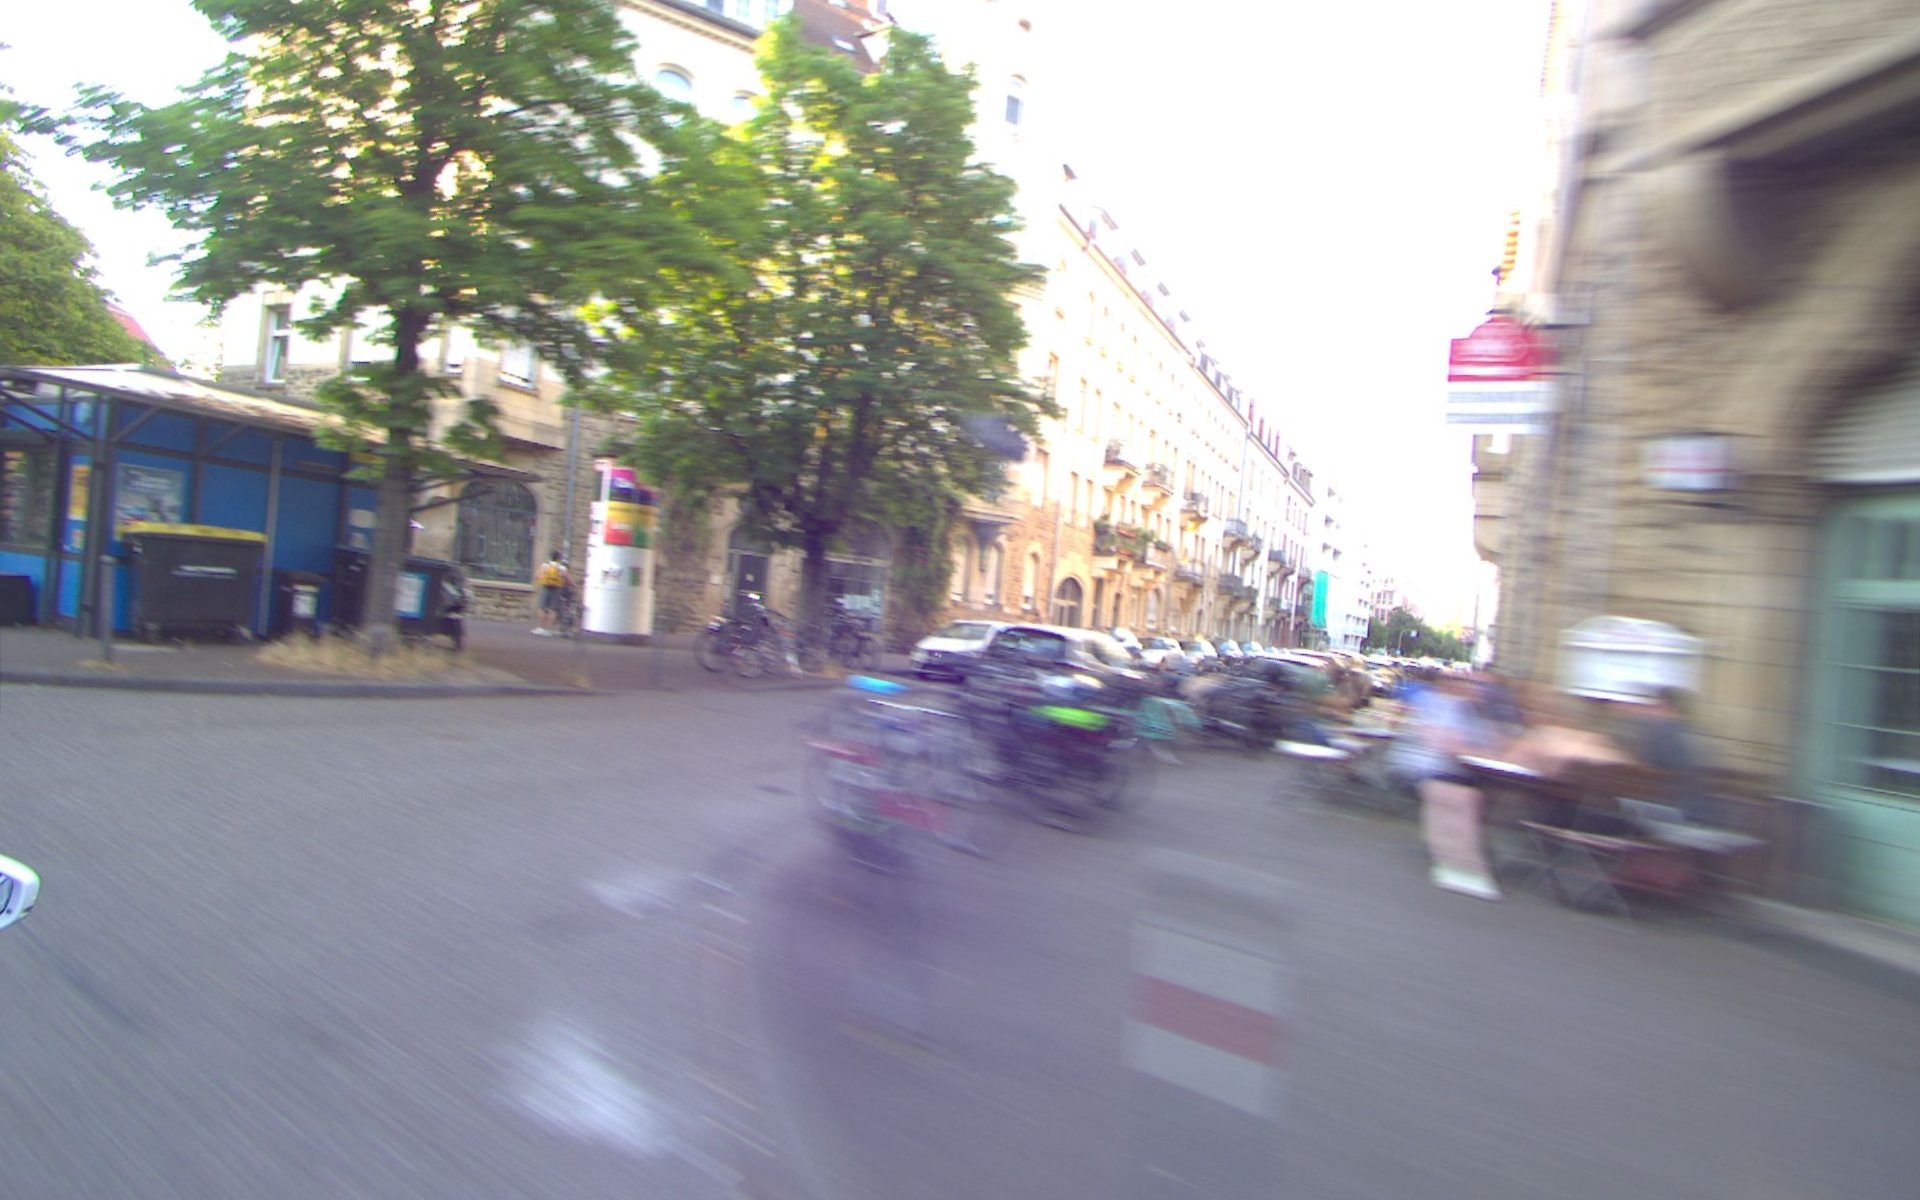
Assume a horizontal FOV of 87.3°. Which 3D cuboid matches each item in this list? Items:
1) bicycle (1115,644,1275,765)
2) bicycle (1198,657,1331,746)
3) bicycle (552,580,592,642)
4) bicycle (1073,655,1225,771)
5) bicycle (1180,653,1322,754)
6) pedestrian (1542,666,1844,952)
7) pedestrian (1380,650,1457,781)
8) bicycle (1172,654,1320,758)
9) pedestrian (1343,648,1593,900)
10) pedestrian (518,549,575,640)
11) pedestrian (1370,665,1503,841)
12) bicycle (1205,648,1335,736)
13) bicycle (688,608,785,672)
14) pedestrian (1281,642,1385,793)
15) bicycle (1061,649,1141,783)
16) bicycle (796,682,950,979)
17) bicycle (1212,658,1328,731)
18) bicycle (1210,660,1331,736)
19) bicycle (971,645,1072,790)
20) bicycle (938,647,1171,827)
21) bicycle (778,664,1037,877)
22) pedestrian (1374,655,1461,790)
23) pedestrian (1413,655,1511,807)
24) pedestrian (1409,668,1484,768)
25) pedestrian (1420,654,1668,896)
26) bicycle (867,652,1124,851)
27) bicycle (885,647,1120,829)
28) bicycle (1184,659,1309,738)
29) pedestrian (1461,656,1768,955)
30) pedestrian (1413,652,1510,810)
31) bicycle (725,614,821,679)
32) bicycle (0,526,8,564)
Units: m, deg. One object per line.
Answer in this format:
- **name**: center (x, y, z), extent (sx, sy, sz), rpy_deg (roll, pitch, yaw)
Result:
- **bicycle**: center (2.960, 1.280, 12.672), extent (1.800, 1.278, 0.585), rpy_deg (6, 1, 19)
- **bicycle**: center (4.657, 1.532, 15.424), extent (1.801, 1.121, 0.545), rpy_deg (5, 1, 24)
- **bicycle**: center (-8.276, 0.219, 21.441), extent (0.627, 1.203, 1.903), rpy_deg (4, 0, -24)
- **bicycle**: center (2.163, 1.287, 11.743), extent (0.585, 1.091, 1.819), rpy_deg (5, 0, -32)
- **bicycle**: center (4.170, 1.457, 14.442), extent (1.801, 1.210, 0.545), rpy_deg (5, 1, 24)
- **pedestrian**: center (4.254, 1.154, 5.910), extent (0.829, 1.414, 1.099), rpy_deg (4, 0, -22)
- **pedestrian**: center (5.549, 1.366, 12.203), extent (0.702, 1.443, 0.902), rpy_deg (6, 0, 24)
- **bicycle**: center (3.940, 1.431, 13.881), extent (1.801, 1.175, 0.545), rpy_deg (5, 1, 24)
- **pedestrian**: center (3.258, 1.071, 6.537), extent (0.829, 1.414, 1.099), rpy_deg (4, 0, -22)
- **pedestrian**: center (-8.694, -0.116, 21.135), extent (0.967, 1.812, 0.999), rpy_deg (4, 1, -25)
- **pedestrian**: center (3.980, 1.246, 8.474), extent (0.862, 1.299, 0.706), rpy_deg (6, 1, 23)
- **bicycle**: center (4.896, 1.431, 15.910), extent (1.801, 1.152, 0.591), rpy_deg (5, 1, 24)
- **bicycle**: center (-3.836, 0.710, 17.404), extent (0.569, 1.008, 1.736), rpy_deg (5, 0, 28)
- **pedestrian**: center (3.860, 1.191, 10.464), extent (0.779, 1.422, 0.715), rpy_deg (5, 1, 11)
- **bicycle**: center (1.475, 1.121, 10.270), extent (0.528, 1.176, 1.835), rpy_deg (5, 0, 14)
- **bicycle**: center (-0.460, 0.992, 4.748), extent (0.425, 1.052, 1.472), rpy_deg (5, 0, -14)
- **bicycle**: center (5.387, 1.624, 17.497), extent (1.801, 1.042, 0.545), rpy_deg (5, 0, 24)
- **bicycle**: center (5.203, 1.623, 16.882), extent (1.801, 1.042, 0.545), rpy_deg (5, 0, 24)
- **bicycle**: center (0.629, 1.047, 9.548), extent (0.547, 1.165, 1.835), rpy_deg (5, 0, 13)
- **bicycle**: center (0.708, 1.032, 8.032), extent (1.809, 1.126, 0.501), rpy_deg (5, 0, 40)
- **bicycle**: center (-0.375, 0.986, 6.235), extent (1.681, 0.992, 0.445), rpy_deg (5, 0, 40)
- **pedestrian**: center (5.193, 1.363, 11.411), extent (0.759, 1.414, 0.616), rpy_deg (4, 0, 31)
- **pedestrian**: center (4.974, 1.272, 10.019), extent (0.724, 1.375, 0.592), rpy_deg (6, 1, 24)
- **pedestrian**: center (6.781, 1.621, 14.062), extent (0.808, 1.242, 0.925), rpy_deg (6, 0, 24)
- **pedestrian**: center (3.902, 1.127, 6.798), extent (0.829, 1.414, 1.099), rpy_deg (4, 0, -22)
- **bicycle**: center (0.202, 1.005, 7.132), extent (1.809, 1.080, 0.511), rpy_deg (5, 0, 40)
- **bicycle**: center (0.278, 0.997, 7.707), extent (1.809, 1.084, 0.474), rpy_deg (5, 0, 40)
- **bicycle**: center (4.650, 1.573, 16.355), extent (1.801, 1.042, 0.545), rpy_deg (5, 0, 24)
- **pedestrian**: center (3.615, 1.076, 5.640), extent (0.829, 1.414, 1.099), rpy_deg (4, 0, -22)
- **pedestrian**: center (4.646, 1.189, 9.373), extent (0.655, 1.337, 0.731), rpy_deg (6, 1, 24)
- **bicycle**: center (-3.152, 0.796, 17.108), extent (0.569, 1.008, 1.736), rpy_deg (5, 0, 28)
- **bicycle**: center (-27.830, -1.601, 28.248), extent (0.697, 1.084, 1.830), rpy_deg (5, 0, -13)
